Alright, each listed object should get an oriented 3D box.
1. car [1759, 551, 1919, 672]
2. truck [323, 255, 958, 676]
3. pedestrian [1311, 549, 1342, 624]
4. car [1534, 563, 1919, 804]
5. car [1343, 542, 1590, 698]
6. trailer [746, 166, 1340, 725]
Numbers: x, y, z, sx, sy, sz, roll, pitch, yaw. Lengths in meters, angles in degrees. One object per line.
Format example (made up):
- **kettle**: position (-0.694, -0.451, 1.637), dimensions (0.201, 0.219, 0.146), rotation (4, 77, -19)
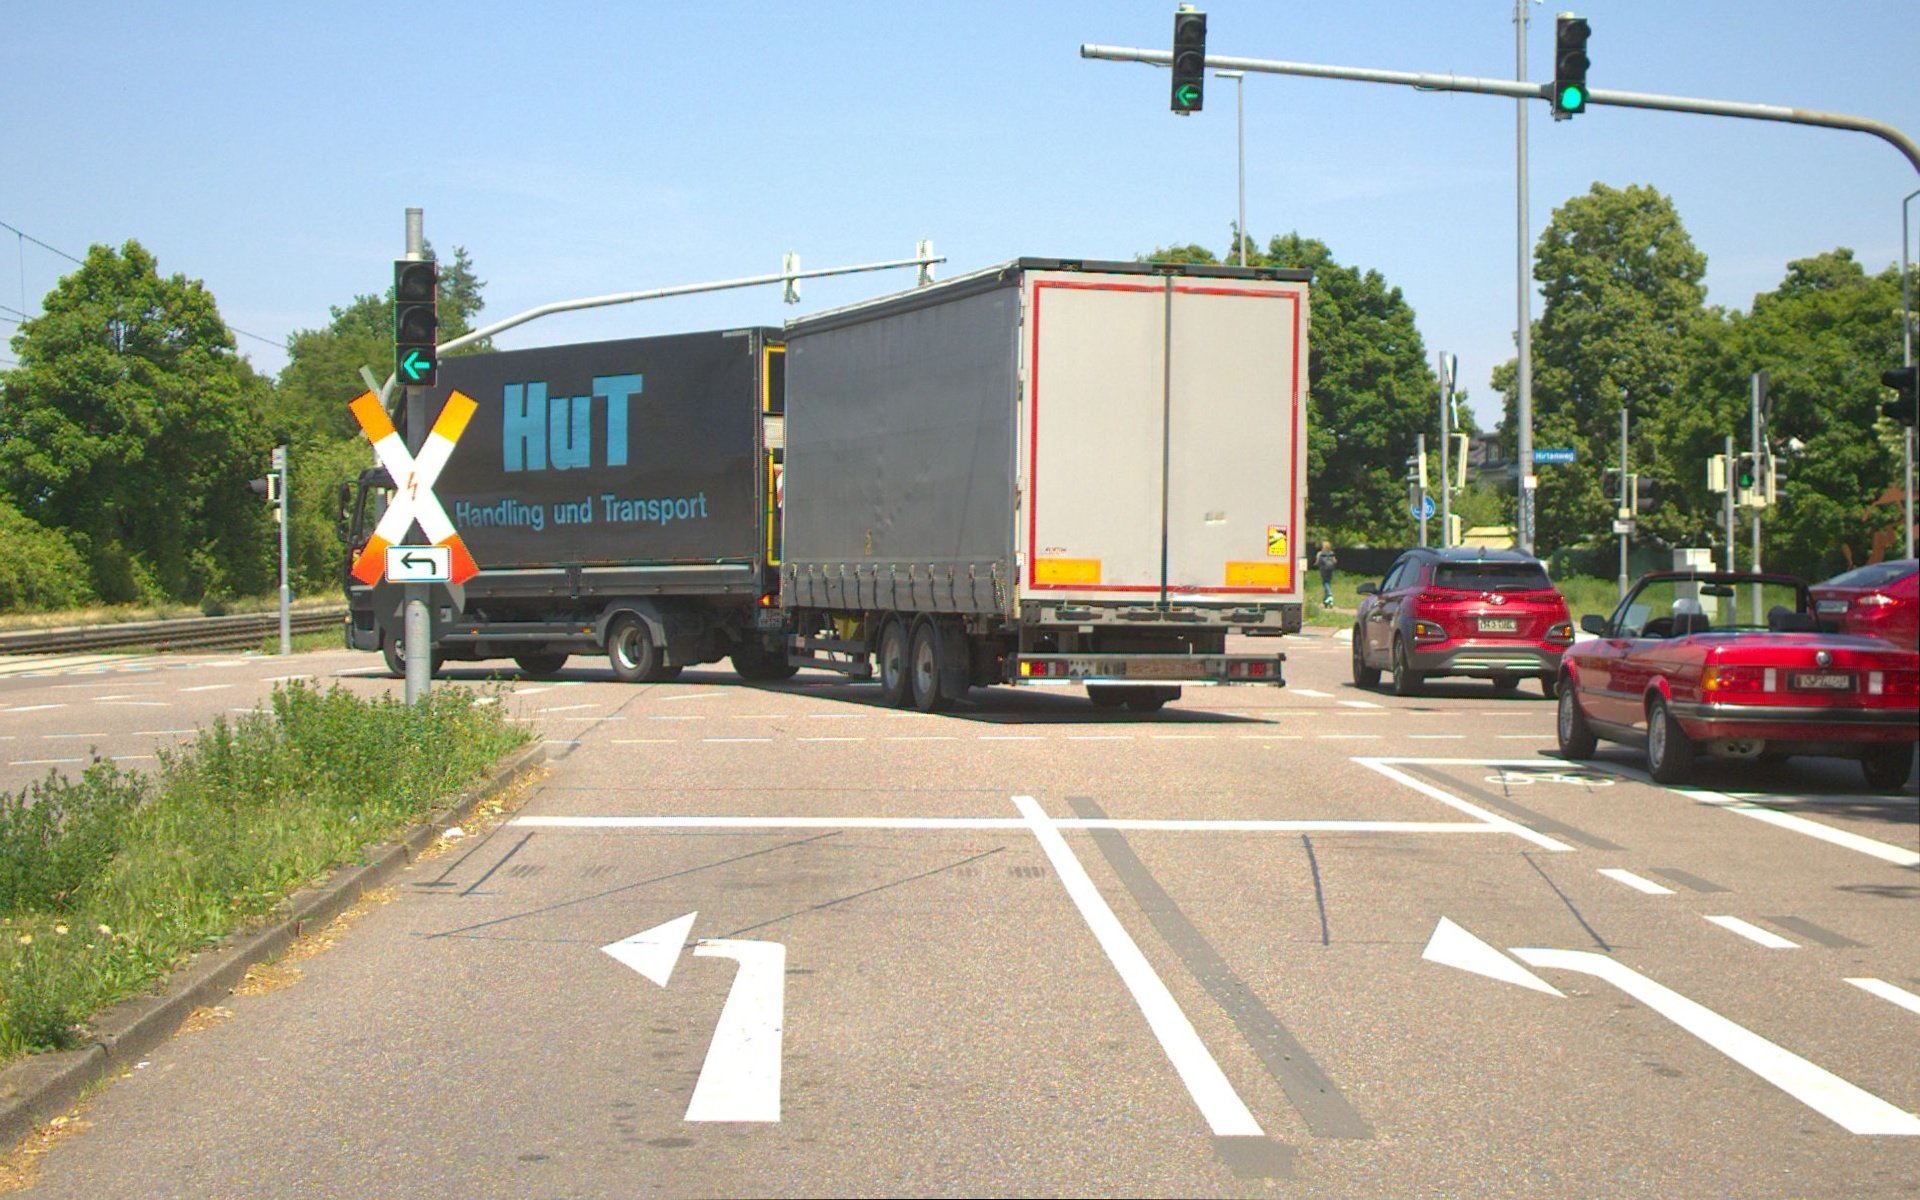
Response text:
- **car**: position (13.023, 0.112, 45.813), dimensions (4.487, 1.498, 2.000), rotation (-1, 2, -30)
- **truck**: position (-3.857, -1.377, 39.386), dimensions (2.828, 4.330, 8.279), rotation (0, 0, -42)
- **pedestrian**: position (10.014, -0.369, 93.912), dimensions (0.742, 2.007, 0.613), rotation (1, 1, -1)
- **car**: position (5.101, 0.482, 22.792), dimensions (1.654, 1.392, 4.268), rotation (1, 1, -3)
- **car**: position (5.351, 0.174, 36.773), dimensions (1.858, 1.544, 3.887), rotation (1, 1, -3)
- **trailer**: position (0.436, -1.302, 31.732), dimensions (2.826, 4.406, 8.752), rotation (1, 1, -17)
